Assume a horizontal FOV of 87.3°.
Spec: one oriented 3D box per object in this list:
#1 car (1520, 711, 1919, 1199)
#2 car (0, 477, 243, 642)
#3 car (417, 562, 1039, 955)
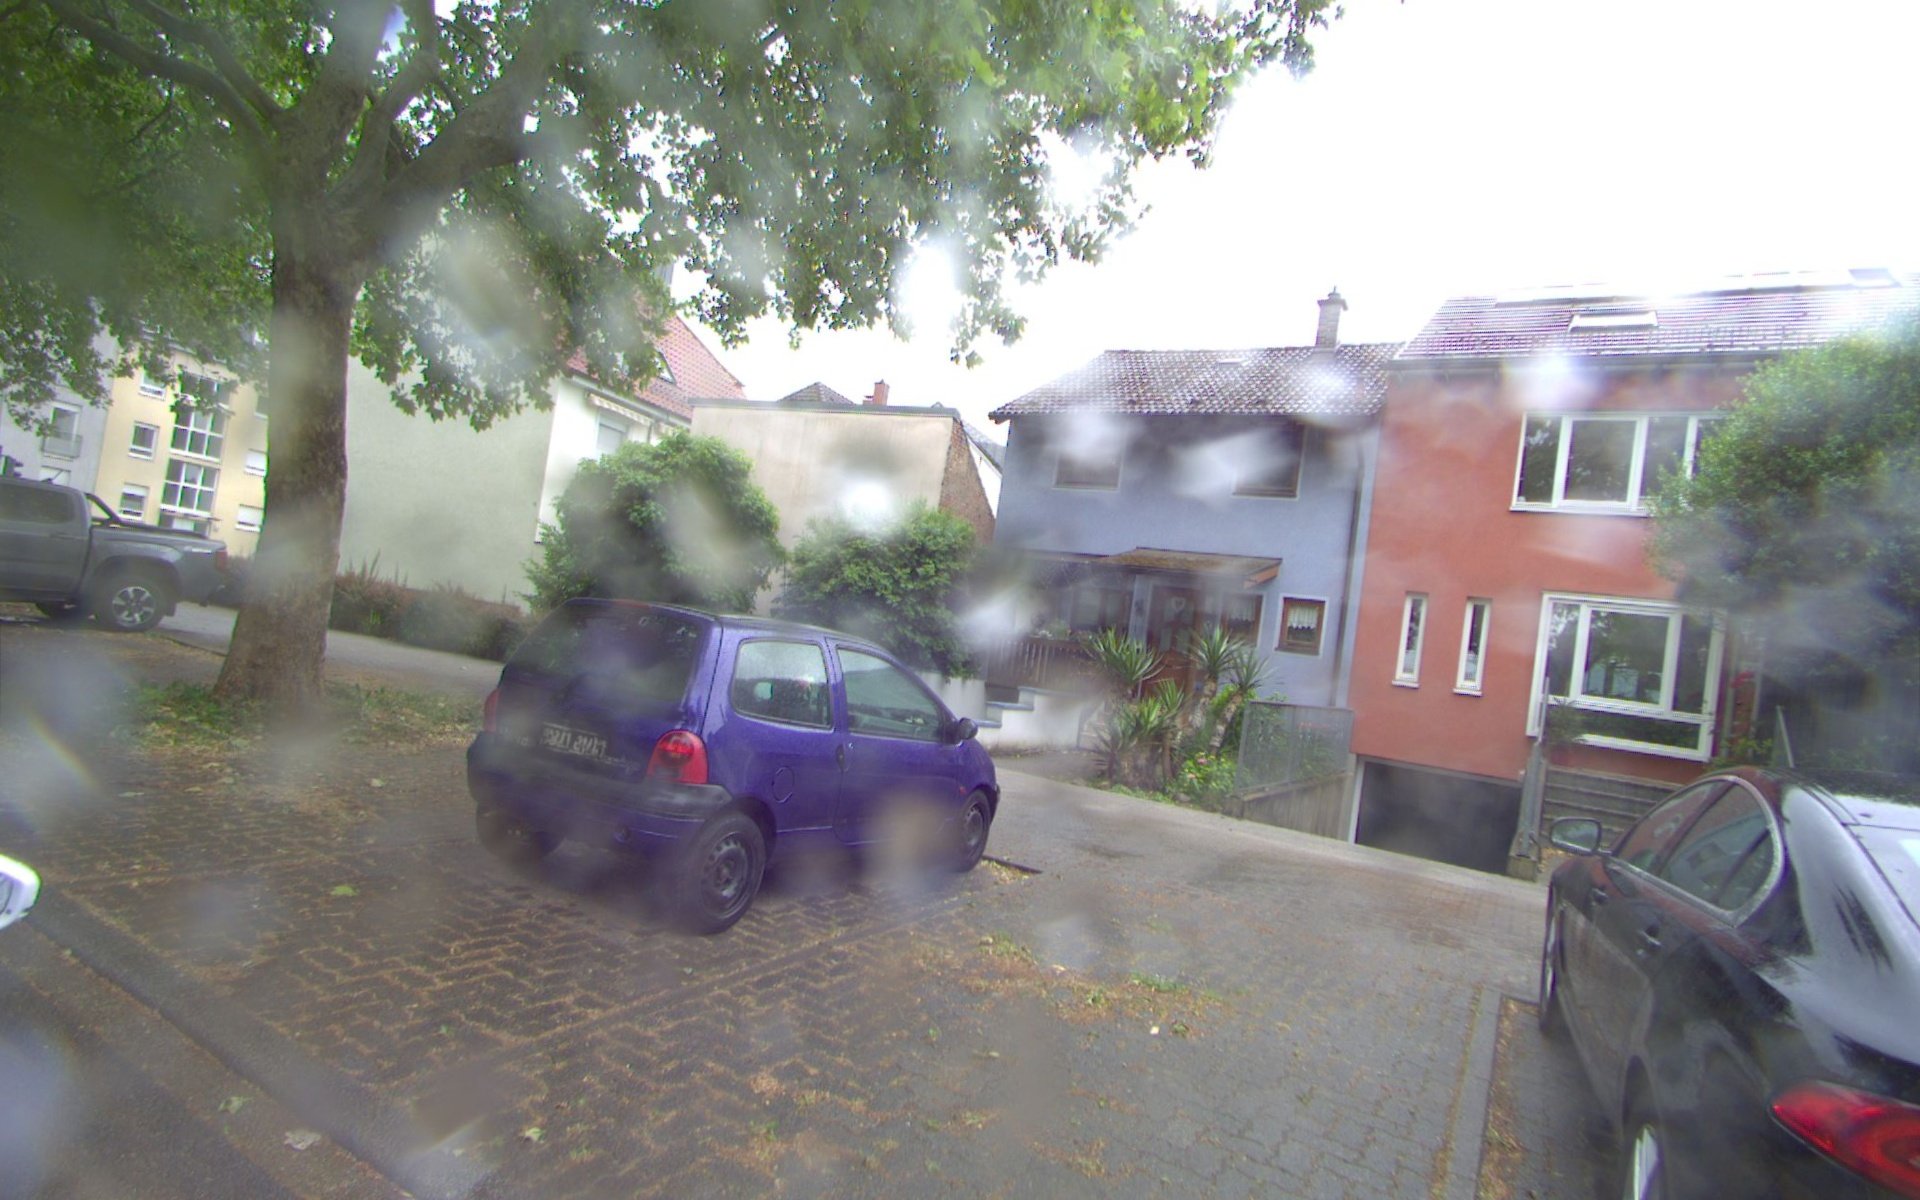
[{"bbox_3d":[2.969,1.233,2.982,1.903,1.489,4.781,7,-2,27],"label":"car"},{"bbox_3d":[-12.365,-0.655,12.446,1.812,1.827,5.357,7,-2,25],"label":"car"},{"bbox_3d":[-1.049,0.815,5.970,1.591,1.480,3.364,7,-3,30],"label":"car"}]
